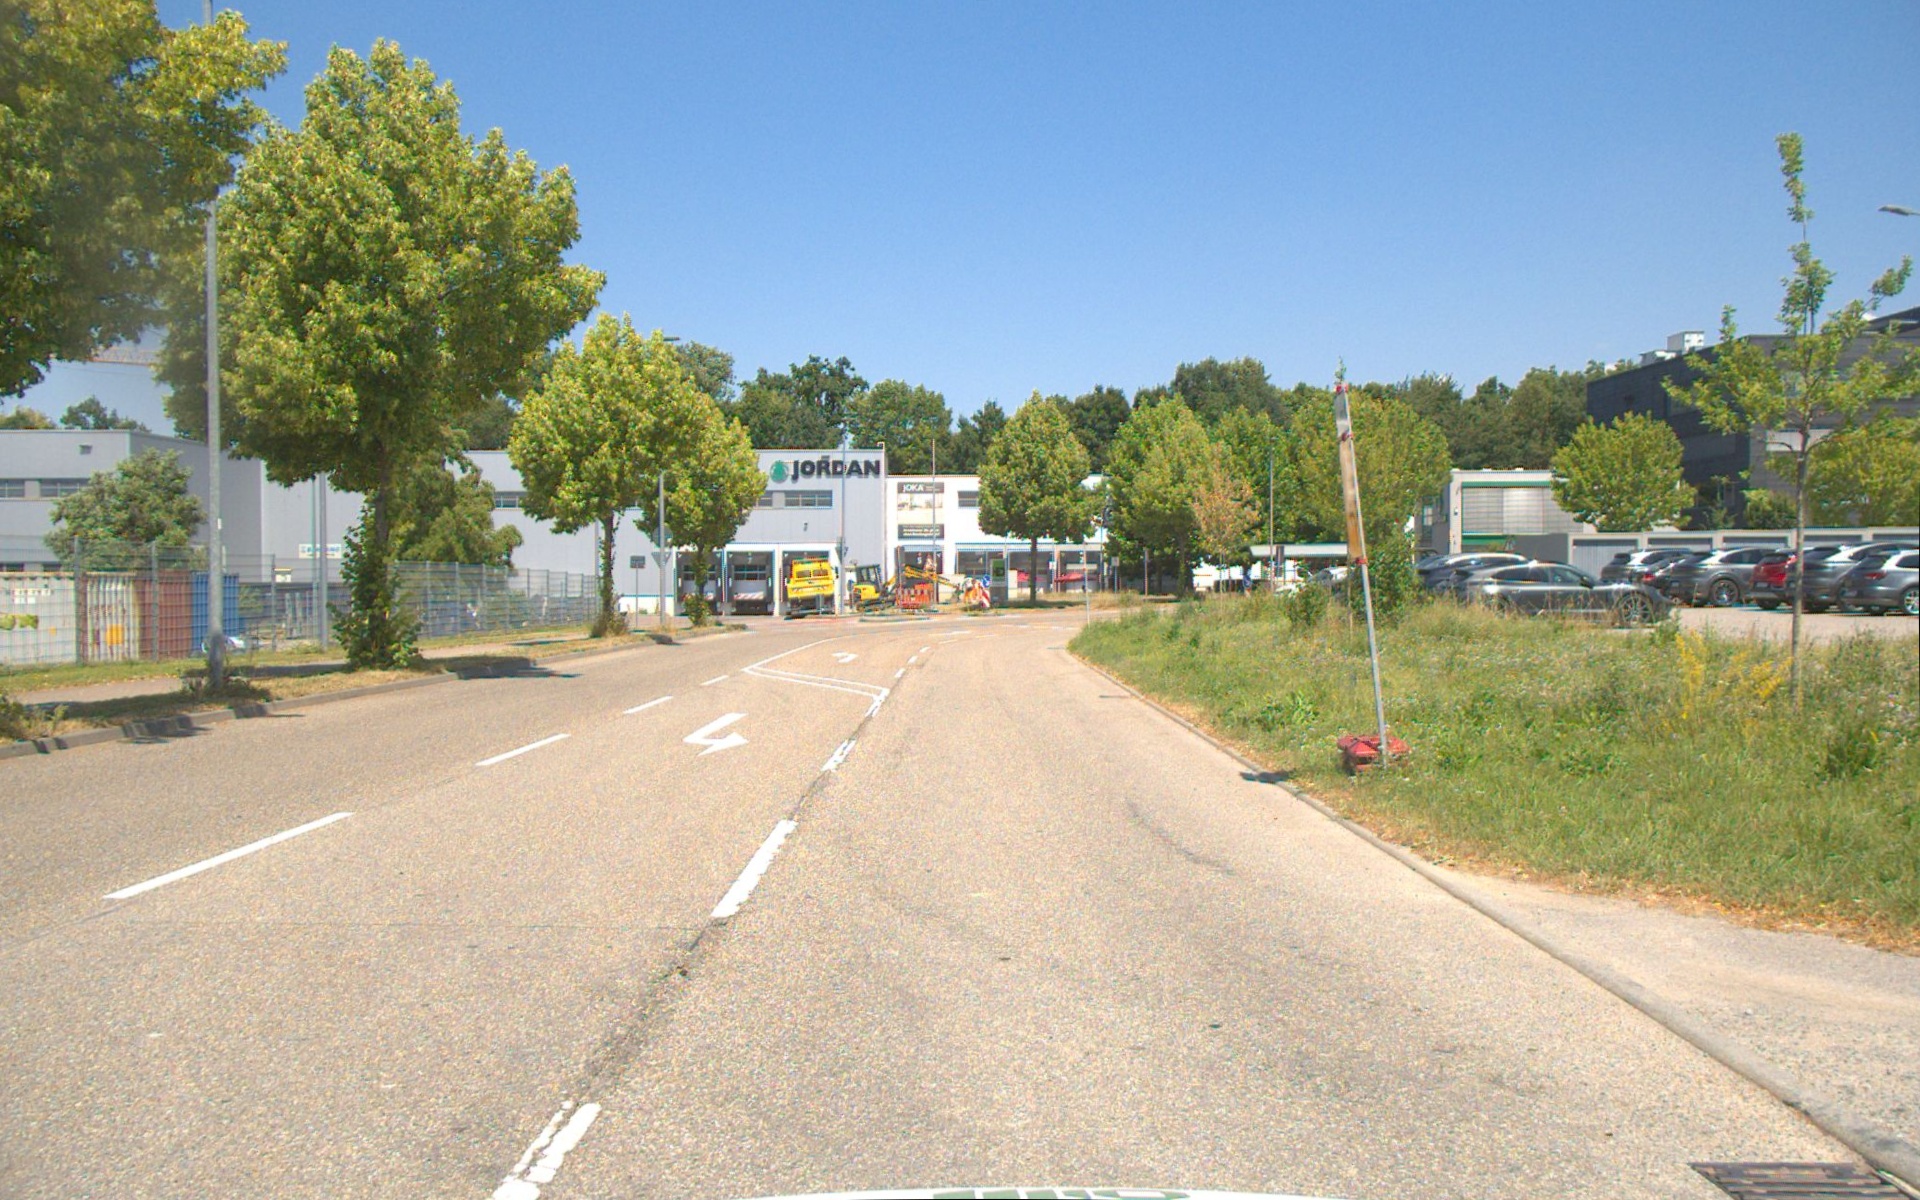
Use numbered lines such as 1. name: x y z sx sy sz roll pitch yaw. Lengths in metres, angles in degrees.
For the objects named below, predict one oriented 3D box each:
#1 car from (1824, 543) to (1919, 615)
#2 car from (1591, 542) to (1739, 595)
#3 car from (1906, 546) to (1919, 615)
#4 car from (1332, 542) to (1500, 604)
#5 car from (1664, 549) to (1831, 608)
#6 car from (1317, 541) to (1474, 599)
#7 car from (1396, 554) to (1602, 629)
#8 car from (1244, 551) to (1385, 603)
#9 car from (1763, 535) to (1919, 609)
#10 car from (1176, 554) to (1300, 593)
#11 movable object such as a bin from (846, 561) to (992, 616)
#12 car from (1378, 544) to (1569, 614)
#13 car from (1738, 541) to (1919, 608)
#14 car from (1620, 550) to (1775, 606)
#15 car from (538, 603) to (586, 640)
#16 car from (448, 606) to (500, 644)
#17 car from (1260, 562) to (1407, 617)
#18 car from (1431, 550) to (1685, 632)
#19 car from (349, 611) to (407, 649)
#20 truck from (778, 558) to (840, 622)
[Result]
1. car: 21.828 -0.525 37.230 3.908 1.424 1.768 -2 4 -4
2. car: 22.233 -1.022 52.234 3.908 1.424 1.768 -2 4 -4
3. car: 22.191 -0.442 34.532 3.907 1.424 1.769 -2 4 -3
4. car: 12.454 -0.762 45.273 4.080 1.424 1.768 -2 4 -4
5. car: 22.270 -0.623 46.857 3.908 1.424 1.768 -2 4 -4
6. car: 12.708 -0.893 48.382 4.080 1.424 1.768 -2 4 -4
7. car: 12.172 -0.215 37.478 4.080 1.424 1.768 -2 4 -4
8. car: 11.395 -0.749 53.306 4.080 1.424 1.768 -2 4 -4
9. car: 21.719 -0.696 39.872 3.908 1.515 1.768 -2 4 -4
10. car: 16.423 -1.570 98.054 7.022 2.124 2.001 -2 0 3
11. movable object such as a bin: -2.159 -0.639 89.658 7.365 2.542 3.671 -2 4 8
12. car: 12.423 -0.533 40.137 4.080 1.424 1.768 -2 4 -4
13. car: 22.396 -0.675 42.581 3.908 1.486 1.768 -2 4 -4
14. car: 22.157 -0.674 49.752 3.908 1.424 1.768 -2 4 -4
15. car: -21.098 1.126 87.771 1.956 1.578 3.996 -3 4 -7
16. car: -25.662 1.318 87.429 1.956 1.578 3.996 -3 4 -7
17. car: 11.527 -0.327 51.165 4.080 1.424 1.768 -2 4 -4
18. car: 12.397 -0.211 34.477 4.606 1.424 1.923 -2 4 2
19. car: -30.493 1.542 86.785 1.956 1.578 3.996 -3 4 -7
20. truck: -8.180 -0.591 89.121 2.884 2.935 5.800 -3 4 -8
